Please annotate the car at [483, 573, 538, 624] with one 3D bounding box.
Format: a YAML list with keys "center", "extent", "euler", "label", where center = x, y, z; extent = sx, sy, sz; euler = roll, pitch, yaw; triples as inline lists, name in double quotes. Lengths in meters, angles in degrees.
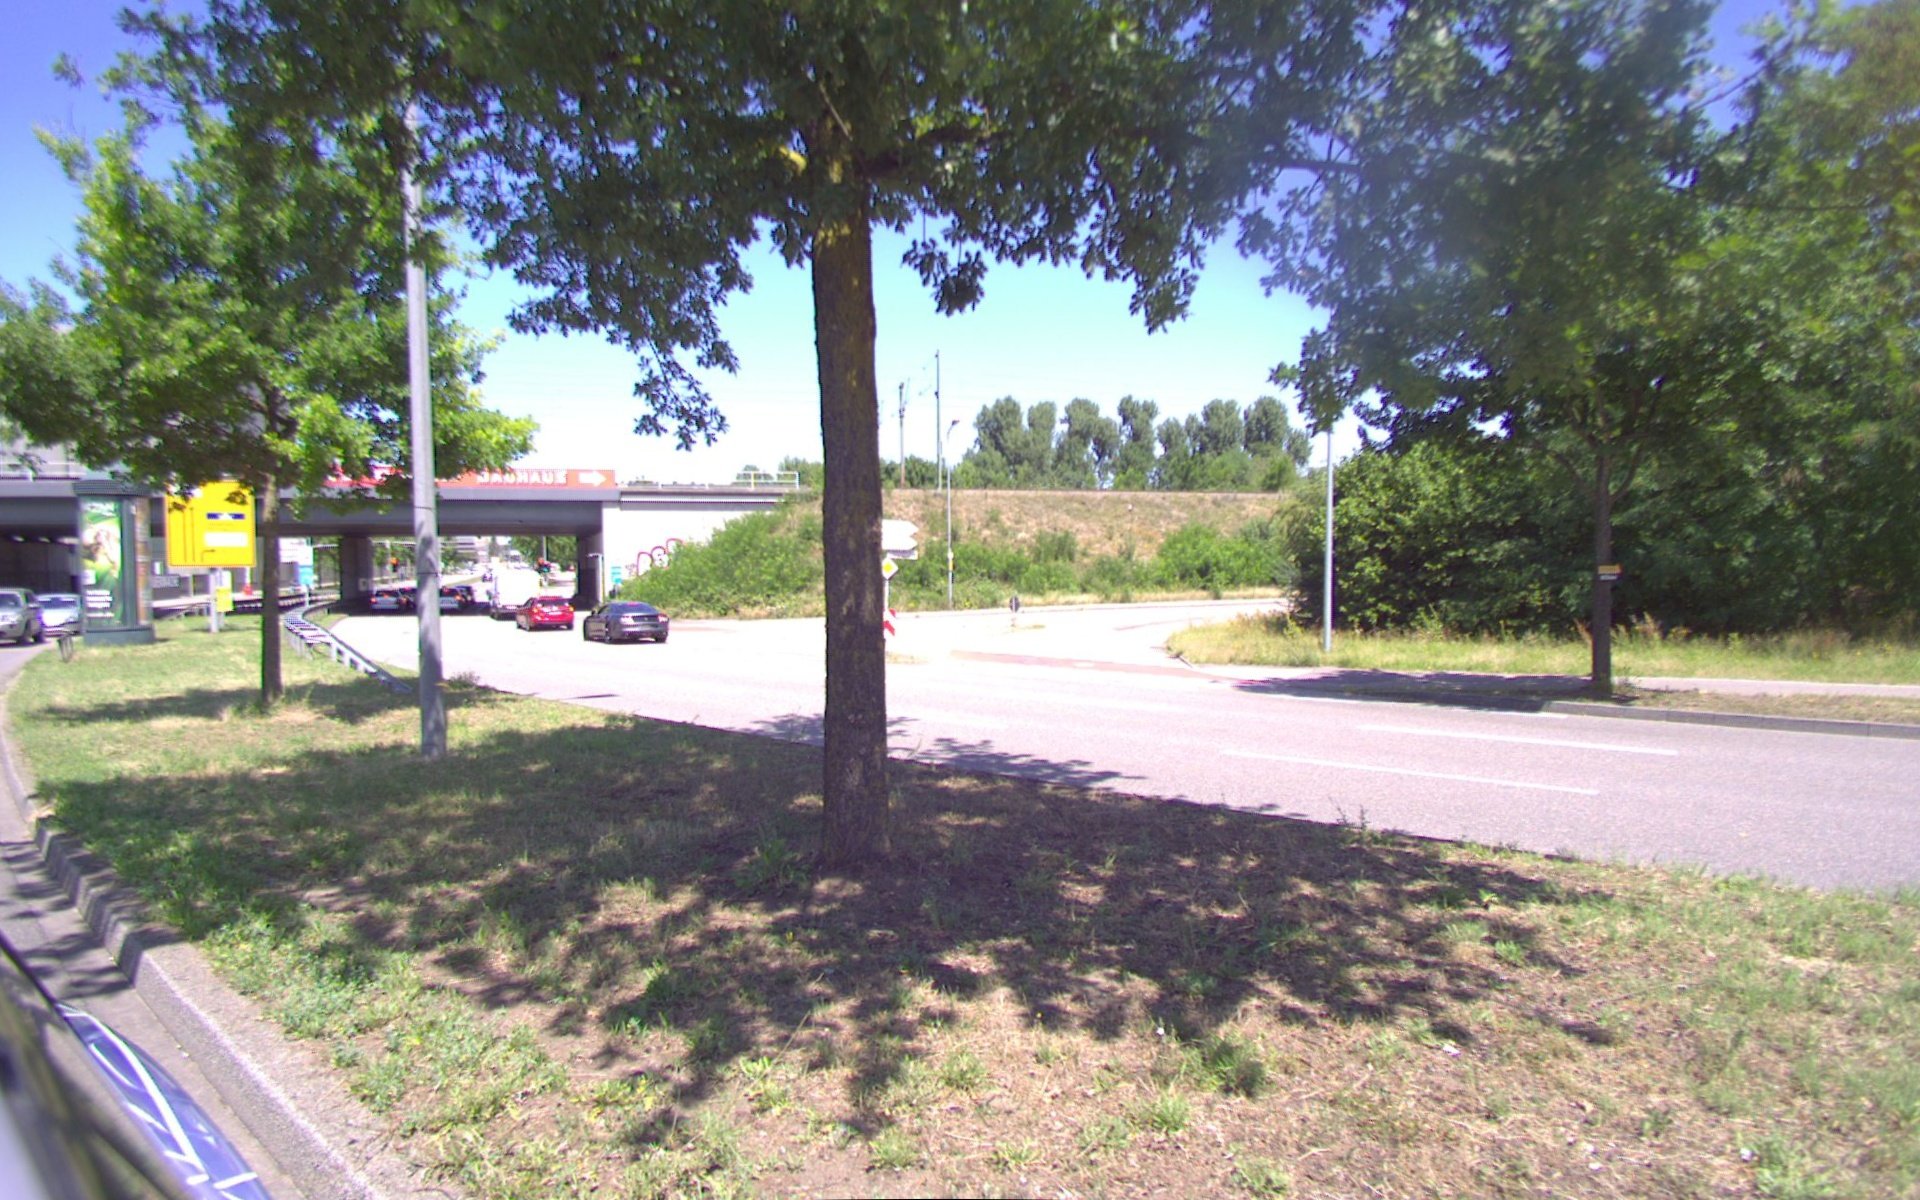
- center: [-23.751, -0.025, 53.385]
  extent: [2.065, 2.519, 5.827]
  euler: [0, -1, -30]
  label: "car"

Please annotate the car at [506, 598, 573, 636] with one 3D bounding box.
- center: [-17.854, 0.682, 42.856]
  extent: [1.806, 1.448, 4.538]
  euler: [-1, 1, -34]
  label: "car"

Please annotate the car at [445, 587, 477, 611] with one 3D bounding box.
- center: [-39.103, -0.093, 79.440]
  extent: [1.875, 1.874, 4.013]
  euler: [0, 1, -21]
  label: "car"

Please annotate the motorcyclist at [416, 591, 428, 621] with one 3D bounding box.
- center: [-29.327, 0.312, 55.140]
  extent: [0.579, 1.638, 0.564]
  euler: [0, 1, -27]
  label: "motorcyclist"

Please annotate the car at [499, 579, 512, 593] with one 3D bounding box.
- center: [-69.686, -2.159, 155.347]
  extent: [1.678, 2.029, 4.013]
  euler: [0, 1, -22]
  label: "car"

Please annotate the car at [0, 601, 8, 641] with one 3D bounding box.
- center: [-36.347, 0.789, 37.107]
  extent: [1.690, 1.453, 4.008]
  euler: [-1, 1, -38]
  label: "car"

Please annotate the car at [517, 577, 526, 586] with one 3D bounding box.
- center: [-95.343, -4.056, 220.028]
  extent: [1.808, 2.029, 4.013]
  euler: [0, 1, -24]
  label: "car"

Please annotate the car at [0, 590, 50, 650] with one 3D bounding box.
- center: [-29.015, 0.574, 30.357]
  extent: [1.815, 1.708, 3.711]
  euler: [-1, 1, -30]
  label: "car"

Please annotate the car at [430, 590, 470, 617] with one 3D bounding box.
- center: [-30.535, 0.206, 60.644]
  extent: [1.611, 1.579, 4.085]
  euler: [0, 0, -19]
  label: "car"

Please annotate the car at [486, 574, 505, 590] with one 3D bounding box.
- center: [-62.485, -2.387, 136.328]
  extent: [1.965, 2.118, 6.404]
  euler: [0, 1, -22]
  label: "car"

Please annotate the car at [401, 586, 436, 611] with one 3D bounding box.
- center: [-42.026, -0.165, 78.663]
  extent: [1.875, 1.874, 4.013]
  euler: [0, 1, -21]
  label: "car"

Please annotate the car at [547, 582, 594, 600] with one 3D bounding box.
- center: [-40.315, -0.961, 104.754]
  extent: [4.278, 1.874, 1.865]
  euler: [0, 1, 14]
  label: "car"

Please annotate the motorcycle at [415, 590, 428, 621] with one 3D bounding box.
- center: [-29.431, 0.287, 55.319]
  extent: [0.589, 1.691, 2.433]
  euler: [0, 1, -28]
  label: "motorcycle"

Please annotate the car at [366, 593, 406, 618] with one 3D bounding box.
- center: [-34.322, 0.333, 60.593]
  extent: [1.611, 1.413, 4.236]
  euler: [1, 0, -23]
  label: "car"

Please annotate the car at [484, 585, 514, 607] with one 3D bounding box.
- center: [-33.521, -0.305, 73.587]
  extent: [1.548, 1.514, 3.417]
  euler: [0, 1, -17]
  label: "car"

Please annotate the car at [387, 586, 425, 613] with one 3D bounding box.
- center: [-40.038, -0.059, 73.239]
  extent: [1.875, 1.874, 4.013]
  euler: [0, 1, -21]
  label: "car"

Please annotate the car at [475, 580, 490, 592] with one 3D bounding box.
- center: [-77.465, -2.266, 164.282]
  extent: [1.965, 2.029, 4.013]
  euler: [0, 1, -22]
  label: "car"

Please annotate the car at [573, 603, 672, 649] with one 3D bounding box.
- center: [-11.348, 0.815, 33.856]
  extent: [1.786, 1.343, 4.580]
  euler: [-1, 1, -37]
  label: "car"

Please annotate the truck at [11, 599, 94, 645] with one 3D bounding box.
- center: [-33.103, 0.750, 36.995]
  extent: [1.703, 1.513, 4.011]
  euler: [-1, 1, -34]
  label: "truck"

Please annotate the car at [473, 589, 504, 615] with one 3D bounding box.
- center: [-31.703, 0.132, 68.094]
  extent: [1.747, 1.680, 4.028]
  euler: [-1, 0, -23]
  label: "car"
